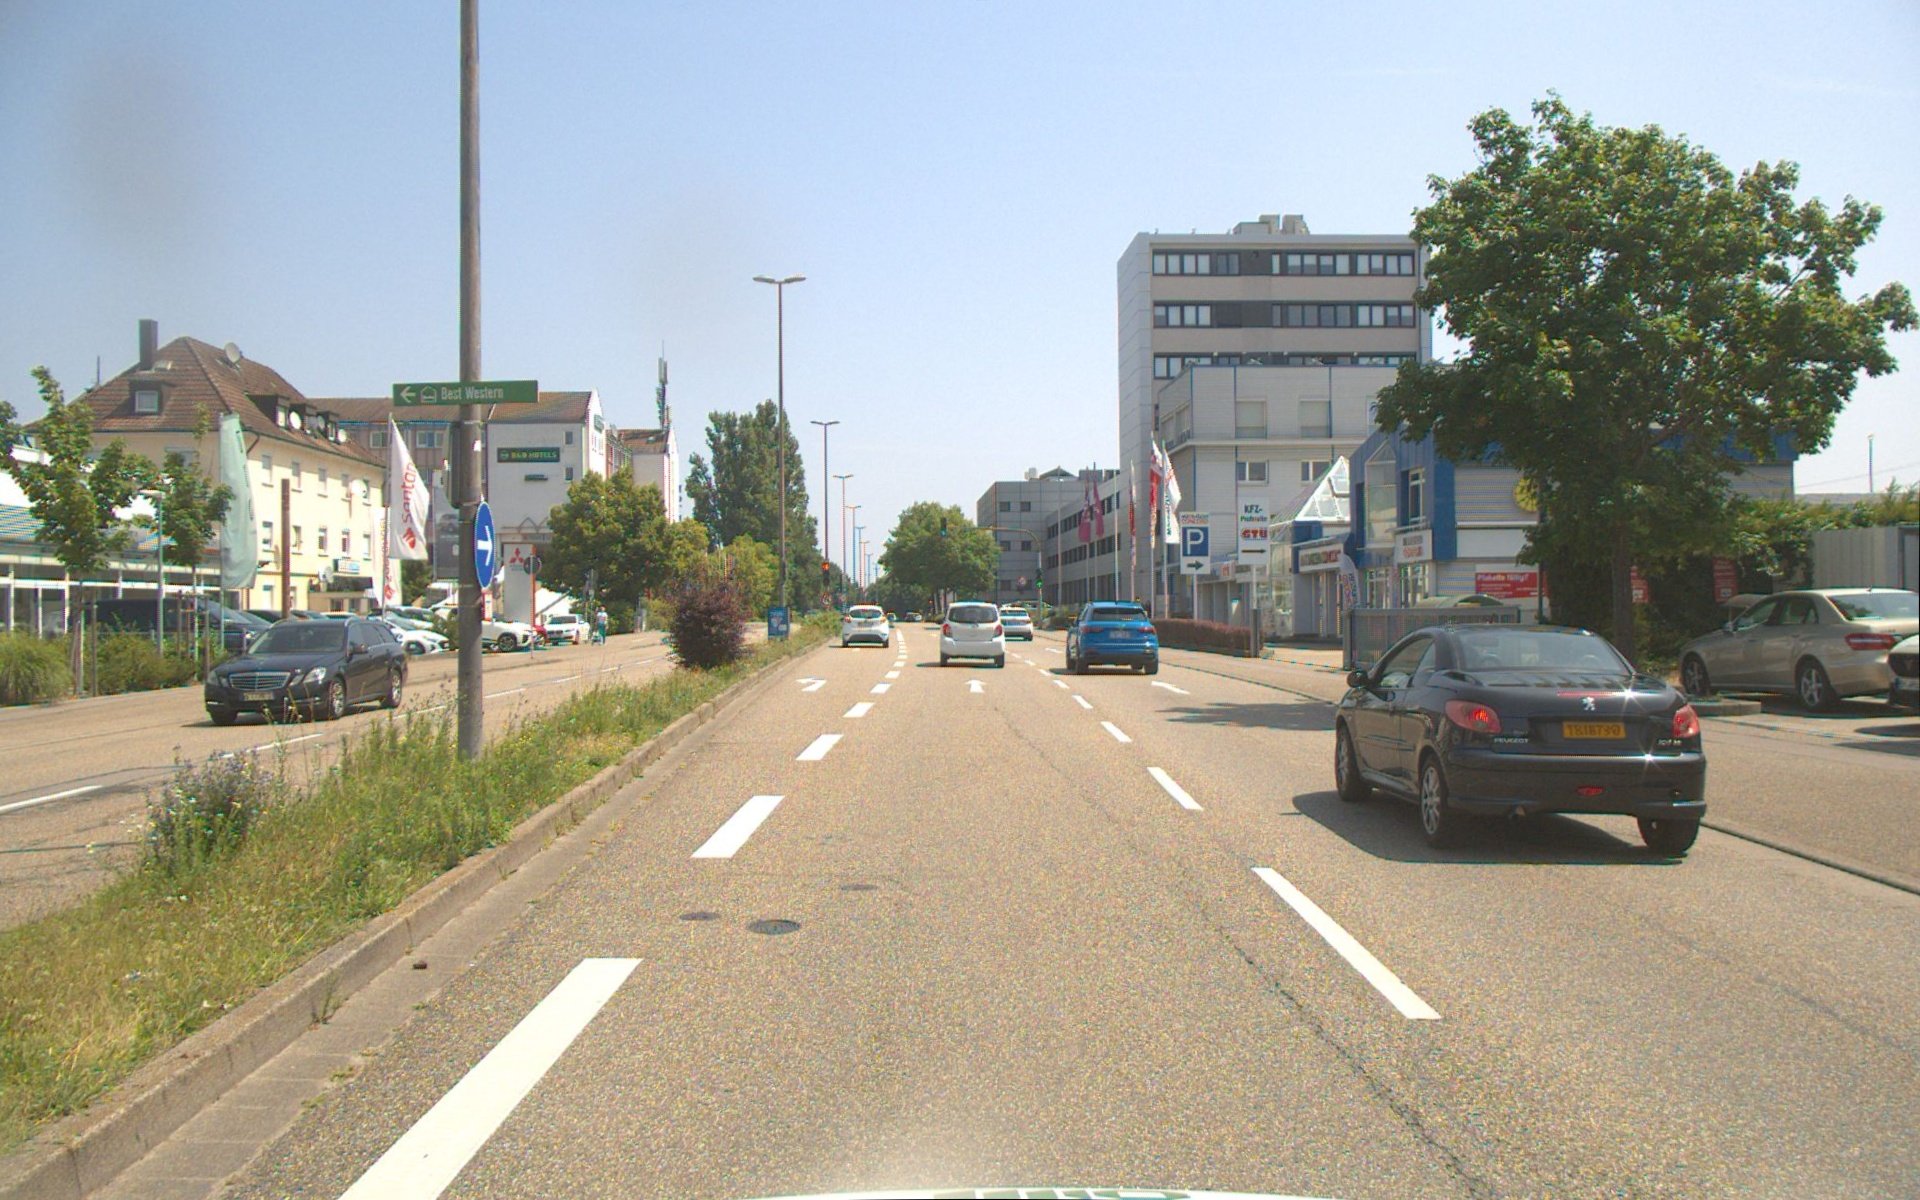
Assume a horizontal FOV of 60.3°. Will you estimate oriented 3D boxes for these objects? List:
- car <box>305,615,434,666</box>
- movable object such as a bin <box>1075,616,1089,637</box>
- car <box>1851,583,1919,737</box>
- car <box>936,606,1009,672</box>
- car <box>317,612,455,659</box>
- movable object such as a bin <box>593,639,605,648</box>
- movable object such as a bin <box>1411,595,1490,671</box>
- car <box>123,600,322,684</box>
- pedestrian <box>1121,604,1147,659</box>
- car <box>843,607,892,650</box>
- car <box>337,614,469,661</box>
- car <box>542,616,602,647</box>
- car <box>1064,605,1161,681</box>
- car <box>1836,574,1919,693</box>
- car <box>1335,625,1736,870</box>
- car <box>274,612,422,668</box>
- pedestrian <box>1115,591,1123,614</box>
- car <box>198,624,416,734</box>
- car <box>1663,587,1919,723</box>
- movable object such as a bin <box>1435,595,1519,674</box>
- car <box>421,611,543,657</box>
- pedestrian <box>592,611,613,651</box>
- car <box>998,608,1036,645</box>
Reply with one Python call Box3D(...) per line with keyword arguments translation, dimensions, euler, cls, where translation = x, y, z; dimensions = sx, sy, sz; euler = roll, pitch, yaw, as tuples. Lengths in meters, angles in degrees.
Box3D(translation=(-20.718, 1.387, 58.094), dimensions=(3.954, 1.652, 1.738), euler=(-1, 0, -36), cls="car")
Box3D(translation=(5.689, 1.239, 77.064), dimensions=(0.540, 0.935, 0.652), euler=(-4, -1, -2), cls="movable object such as a bin")
Box3D(translation=(12.057, 0.508, 17.184), dimensions=(4.528, 1.554, 1.906), euler=(-3, 0, -1), cls="car")
Box3D(translation=(0.270, 0.934, 41.169), dimensions=(1.713, 1.547, 3.744), euler=(0, 0, -1), cls="car")
Box3D(translation=(-18.745, 1.147, 54.136), dimensions=(3.908, 1.419, 1.858), euler=(-1, 0, -4), cls="car")
Box3D(translation=(-16.104, 1.936, 73.790), dimensions=(0.408, 0.378, 0.506), euler=(-1, 0, -1), cls="movable object such as a bin")
Box3D(translation=(10.029, 0.673, 33.890), dimensions=(1.108, 1.496, 1.489), euler=(-1, 0, -2), cls="movable object such as a bin")
Box3D(translation=(-17.763, 0.990, 39.973), dimensions=(3.908, 1.915, 1.998), euler=(-1, 0, -4), cls="car")
Box3D(translation=(6.060, 1.081, 57.637), dimensions=(0.769, 1.879, 0.936), euler=(-1, -1, 0), cls="pedestrian")
Box3D(translation=(-3.289, 0.991, 59.239), dimensions=(1.655, 1.459, 3.709), euler=(-1, 0, -2), cls="car")
Box3D(translation=(-18.946, 1.253, 56.368), dimensions=(3.908, 1.492, 1.758), euler=(-1, 0, -4), cls="car")
Box3D(translation=(-18.780, 1.515, 80.269), dimensions=(1.739, 1.435, 4.759), euler=(-1, 0, 0), cls="car")
Box3D(translation=(3.438, 0.943, 37.803), dimensions=(1.791, 1.608, 3.604), euler=(-1, 0, -2), cls="car")
Box3D(translation=(13.677, 0.405, 21.676), dimensions=(1.863, 1.563, 4.248), euler=(-3, 0, -4), cls="car")
Box3D(translation=(3.762, 0.886, 11.445), dimensions=(1.593, 1.388, 3.606), euler=(0, 0, 1), cls="car")
Box3D(translation=(-18.941, 1.233, 51.315), dimensions=(3.908, 1.636, 1.924), euler=(-1, 0, -4), cls="car")
Box3D(translation=(11.737, 0.200, 122.014), dimensions=(0.580, 1.663, 0.523), euler=(-1, -1, 5), cls="pedestrian")
Box3D(translation=(-10.106, 1.160, 25.996), dimensions=(1.792, 1.486, 4.708), euler=(-1, 0, -4), cls="car")
Box3D(translation=(11.097, 0.637, 21.377), dimensions=(1.758, 1.492, 4.633), euler=(-3, 0, -4), cls="car")
Box3D(translation=(10.077, 0.661, 32.285), dimensions=(1.108, 1.496, 1.489), euler=(-1, 0, -2), cls="movable object such as a bin")
Box3D(translation=(-19.503, 1.365, 67.615), dimensions=(4.457, 1.739, 1.758), euler=(-1, 0, -4), cls="car")
Box3D(translation=(-16.031, 1.378, 74.211), dimensions=(0.725, 1.778, 1.033), euler=(-1, -1, 0), cls="pedestrian")
Box3D(translation=(2.450, 1.144, 71.917), dimensions=(1.527, 1.547, 3.605), euler=(-1, 0, 0), cls="car")
